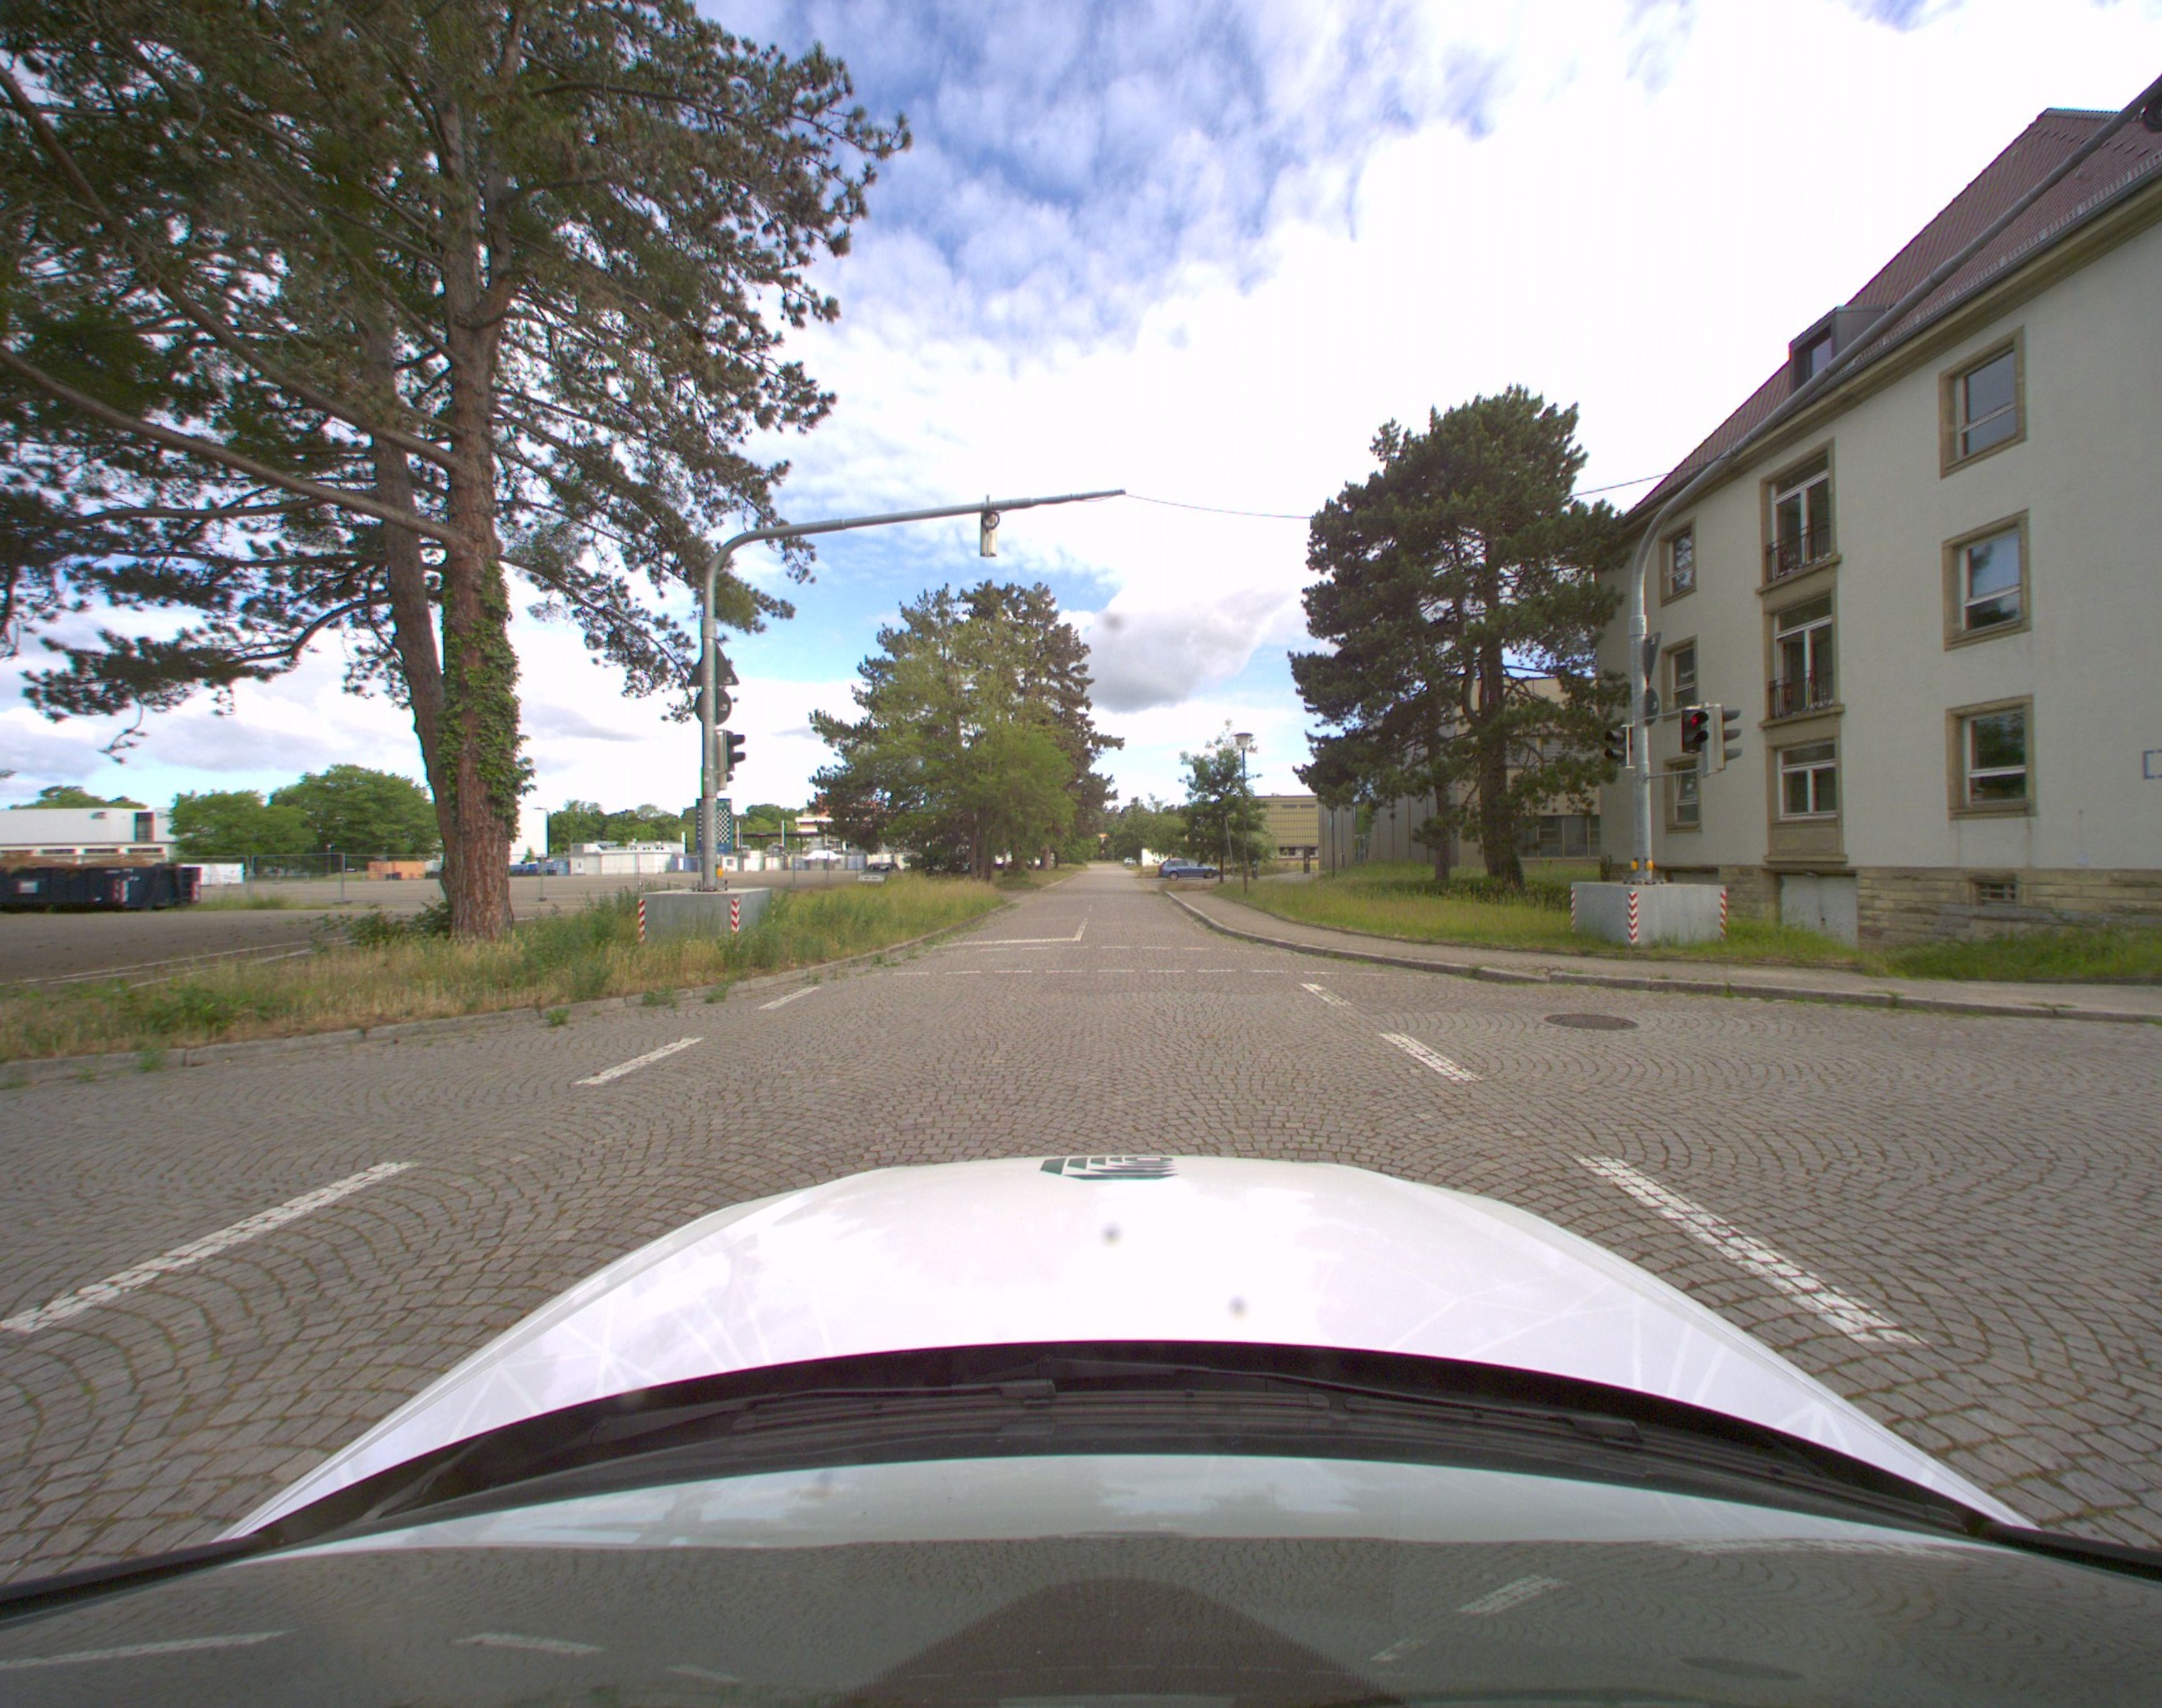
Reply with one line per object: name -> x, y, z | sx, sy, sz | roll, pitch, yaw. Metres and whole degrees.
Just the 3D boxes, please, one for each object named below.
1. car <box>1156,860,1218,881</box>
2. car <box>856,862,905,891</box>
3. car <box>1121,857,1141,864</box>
car -> 7.748, 1.165, 59.752 | 4.330, 1.422, 2.000 | -1, 0, -1
car -> -11.143, 1.211, 45.434 | 1.607, 1.487, 4.002 | -1, 0, 2
car -> 10.850, 1.491, 176.819 | 3.979, 1.398, 1.997 | -1, 0, -4
